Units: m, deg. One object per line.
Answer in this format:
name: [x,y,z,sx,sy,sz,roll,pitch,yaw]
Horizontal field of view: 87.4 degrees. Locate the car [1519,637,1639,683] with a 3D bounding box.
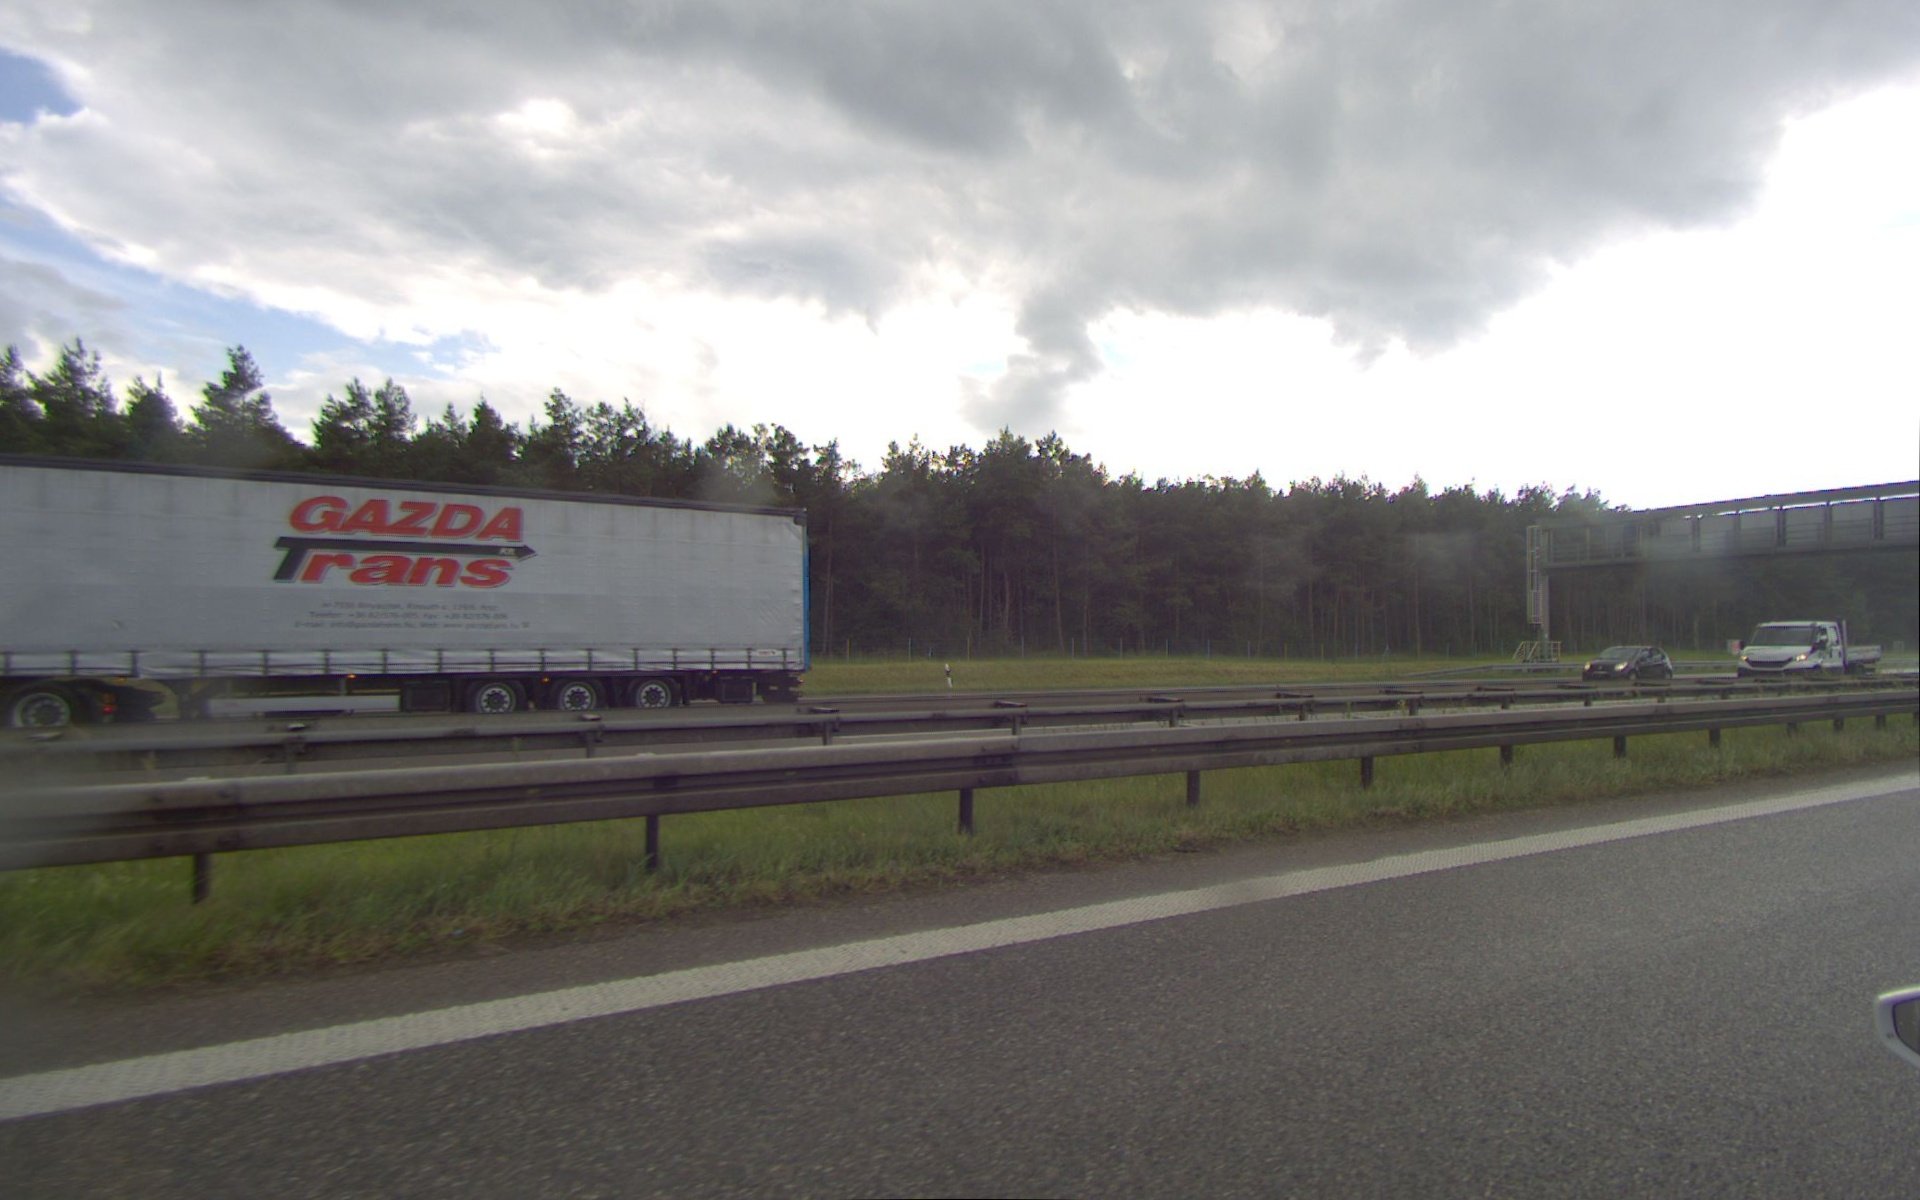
car: [21.398,2.054,34.680,4.508,1.479,1.664,2,-2,-31]

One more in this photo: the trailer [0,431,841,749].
trailer: [-9.165,0.005,16.966,14.449,4.297,2.088,2,0,-30]

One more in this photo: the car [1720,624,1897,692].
car: [28.916,1.923,34.179,6.654,2.040,2.274,2,0,-28]
